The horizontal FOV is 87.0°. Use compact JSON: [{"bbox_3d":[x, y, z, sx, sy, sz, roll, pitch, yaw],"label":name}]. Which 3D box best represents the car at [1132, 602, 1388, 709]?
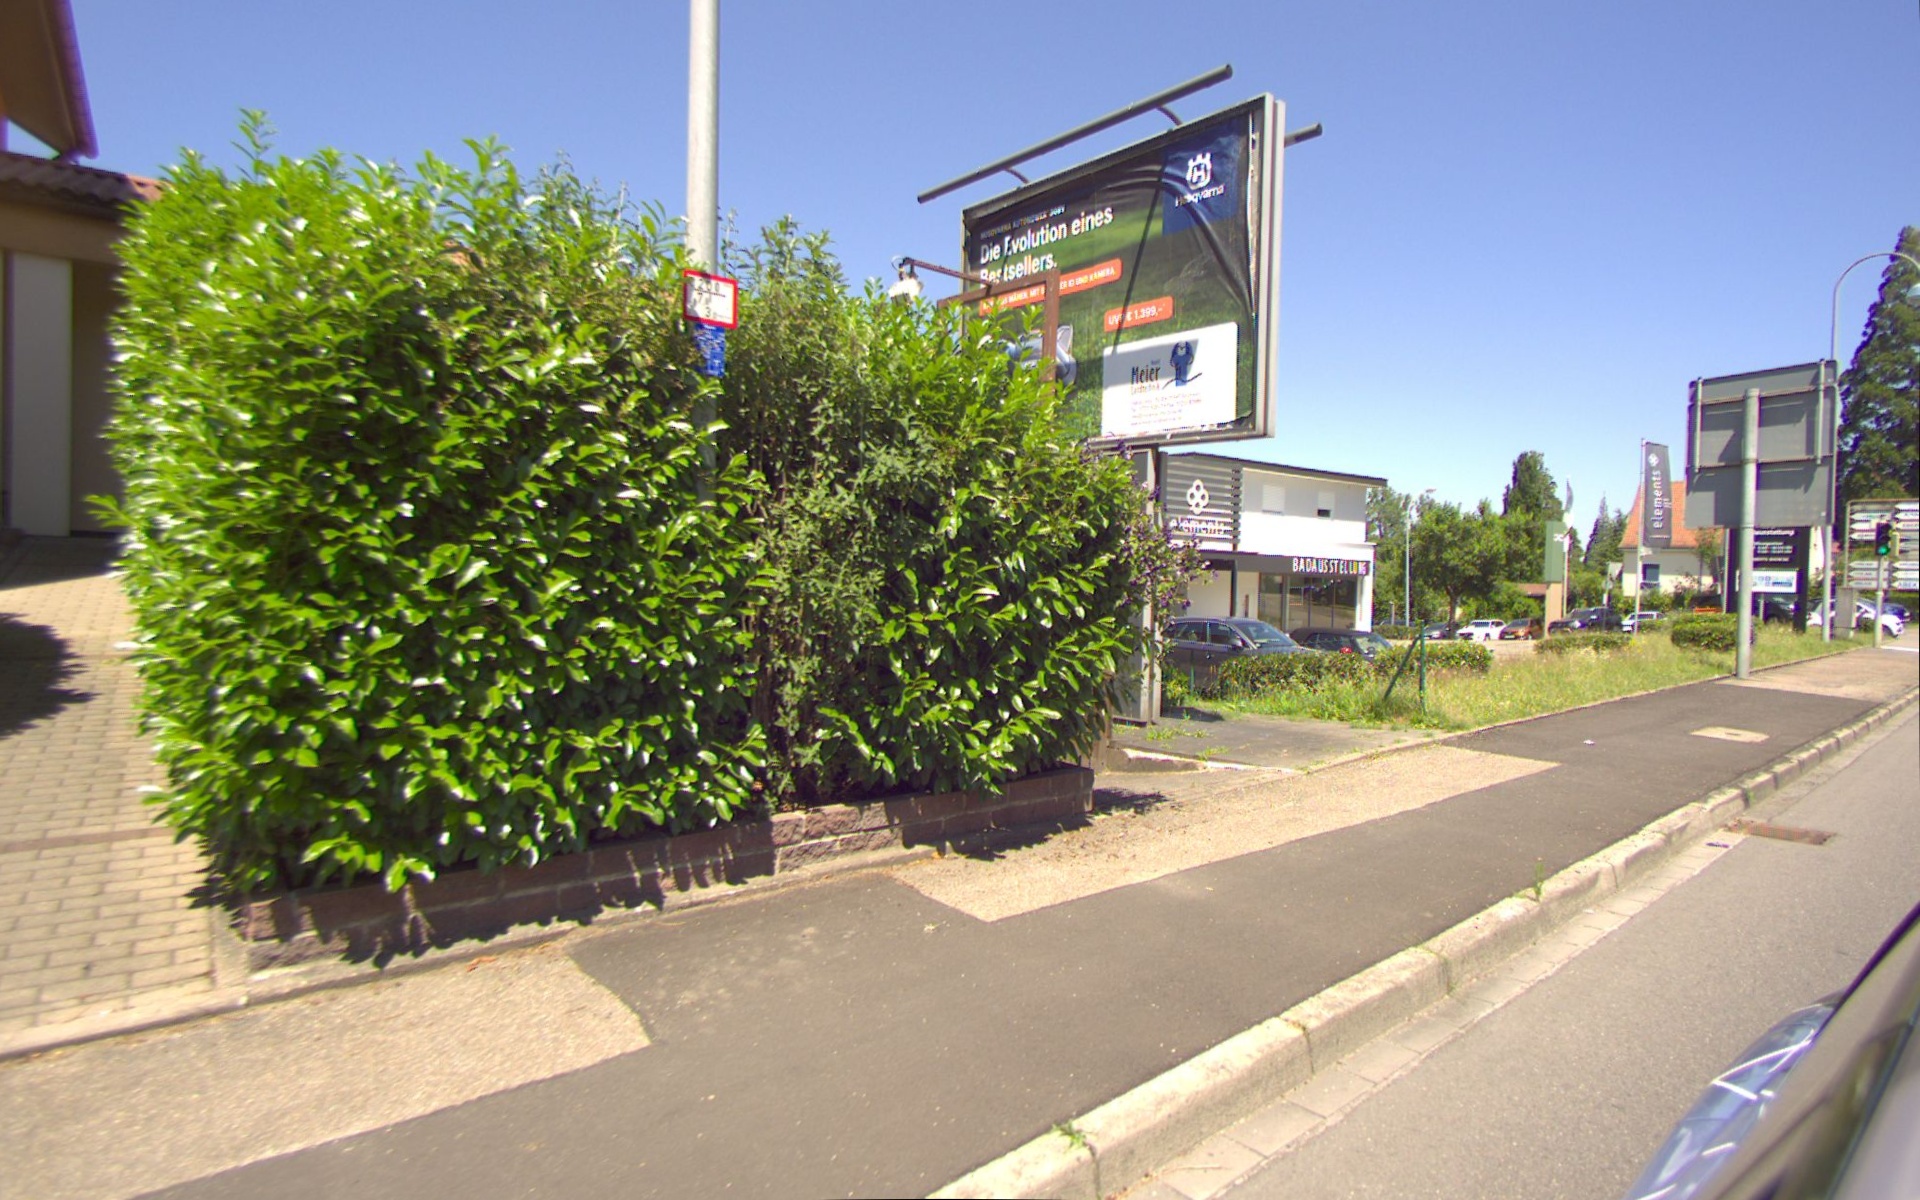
[{"bbox_3d":[5.762,0.969,19.962,1.850,1.684,4.606,0,2,-38],"label":"car"}]

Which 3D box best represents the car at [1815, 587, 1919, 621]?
[{"bbox_3d":[41.676,0.151,46.333,1.597,1.400,3.638,0,2,-39],"label":"car"}]

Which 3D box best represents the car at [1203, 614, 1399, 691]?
[{"bbox_3d":[7.653,1.111,23.015,1.597,1.400,3.976,0,2,-38],"label":"car"}]

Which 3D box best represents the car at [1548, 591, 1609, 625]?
[{"bbox_3d":[32.241,0.383,52.736,3.635,1.665,1.697,-1,1,-41],"label":"car"}]

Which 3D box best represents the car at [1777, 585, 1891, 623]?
[{"bbox_3d":[38.960,0.156,45.174,1.597,1.570,3.638,0,2,-39],"label":"car"}]

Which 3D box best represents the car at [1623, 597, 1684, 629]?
[{"bbox_3d":[38.796,0.683,56.565,3.630,1.665,1.699,-1,1,-36],"label":"car"}]

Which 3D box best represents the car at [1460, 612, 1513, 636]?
[{"bbox_3d":[33.991,1.524,65.299,3.634,1.452,1.835,0,2,-41],"label":"car"}]

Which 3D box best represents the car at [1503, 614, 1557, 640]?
[{"bbox_3d":[35.485,1.651,62.967,3.634,1.452,1.776,0,2,-41],"label":"car"}]

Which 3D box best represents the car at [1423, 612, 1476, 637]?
[{"bbox_3d":[32.394,1.606,66.940,3.633,1.452,1.776,0,2,-39],"label":"car"}]

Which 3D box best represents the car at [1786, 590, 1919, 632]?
[{"bbox_3d":[33.682,0.379,38.202,1.597,1.400,3.638,0,2,-39],"label":"car"}]
